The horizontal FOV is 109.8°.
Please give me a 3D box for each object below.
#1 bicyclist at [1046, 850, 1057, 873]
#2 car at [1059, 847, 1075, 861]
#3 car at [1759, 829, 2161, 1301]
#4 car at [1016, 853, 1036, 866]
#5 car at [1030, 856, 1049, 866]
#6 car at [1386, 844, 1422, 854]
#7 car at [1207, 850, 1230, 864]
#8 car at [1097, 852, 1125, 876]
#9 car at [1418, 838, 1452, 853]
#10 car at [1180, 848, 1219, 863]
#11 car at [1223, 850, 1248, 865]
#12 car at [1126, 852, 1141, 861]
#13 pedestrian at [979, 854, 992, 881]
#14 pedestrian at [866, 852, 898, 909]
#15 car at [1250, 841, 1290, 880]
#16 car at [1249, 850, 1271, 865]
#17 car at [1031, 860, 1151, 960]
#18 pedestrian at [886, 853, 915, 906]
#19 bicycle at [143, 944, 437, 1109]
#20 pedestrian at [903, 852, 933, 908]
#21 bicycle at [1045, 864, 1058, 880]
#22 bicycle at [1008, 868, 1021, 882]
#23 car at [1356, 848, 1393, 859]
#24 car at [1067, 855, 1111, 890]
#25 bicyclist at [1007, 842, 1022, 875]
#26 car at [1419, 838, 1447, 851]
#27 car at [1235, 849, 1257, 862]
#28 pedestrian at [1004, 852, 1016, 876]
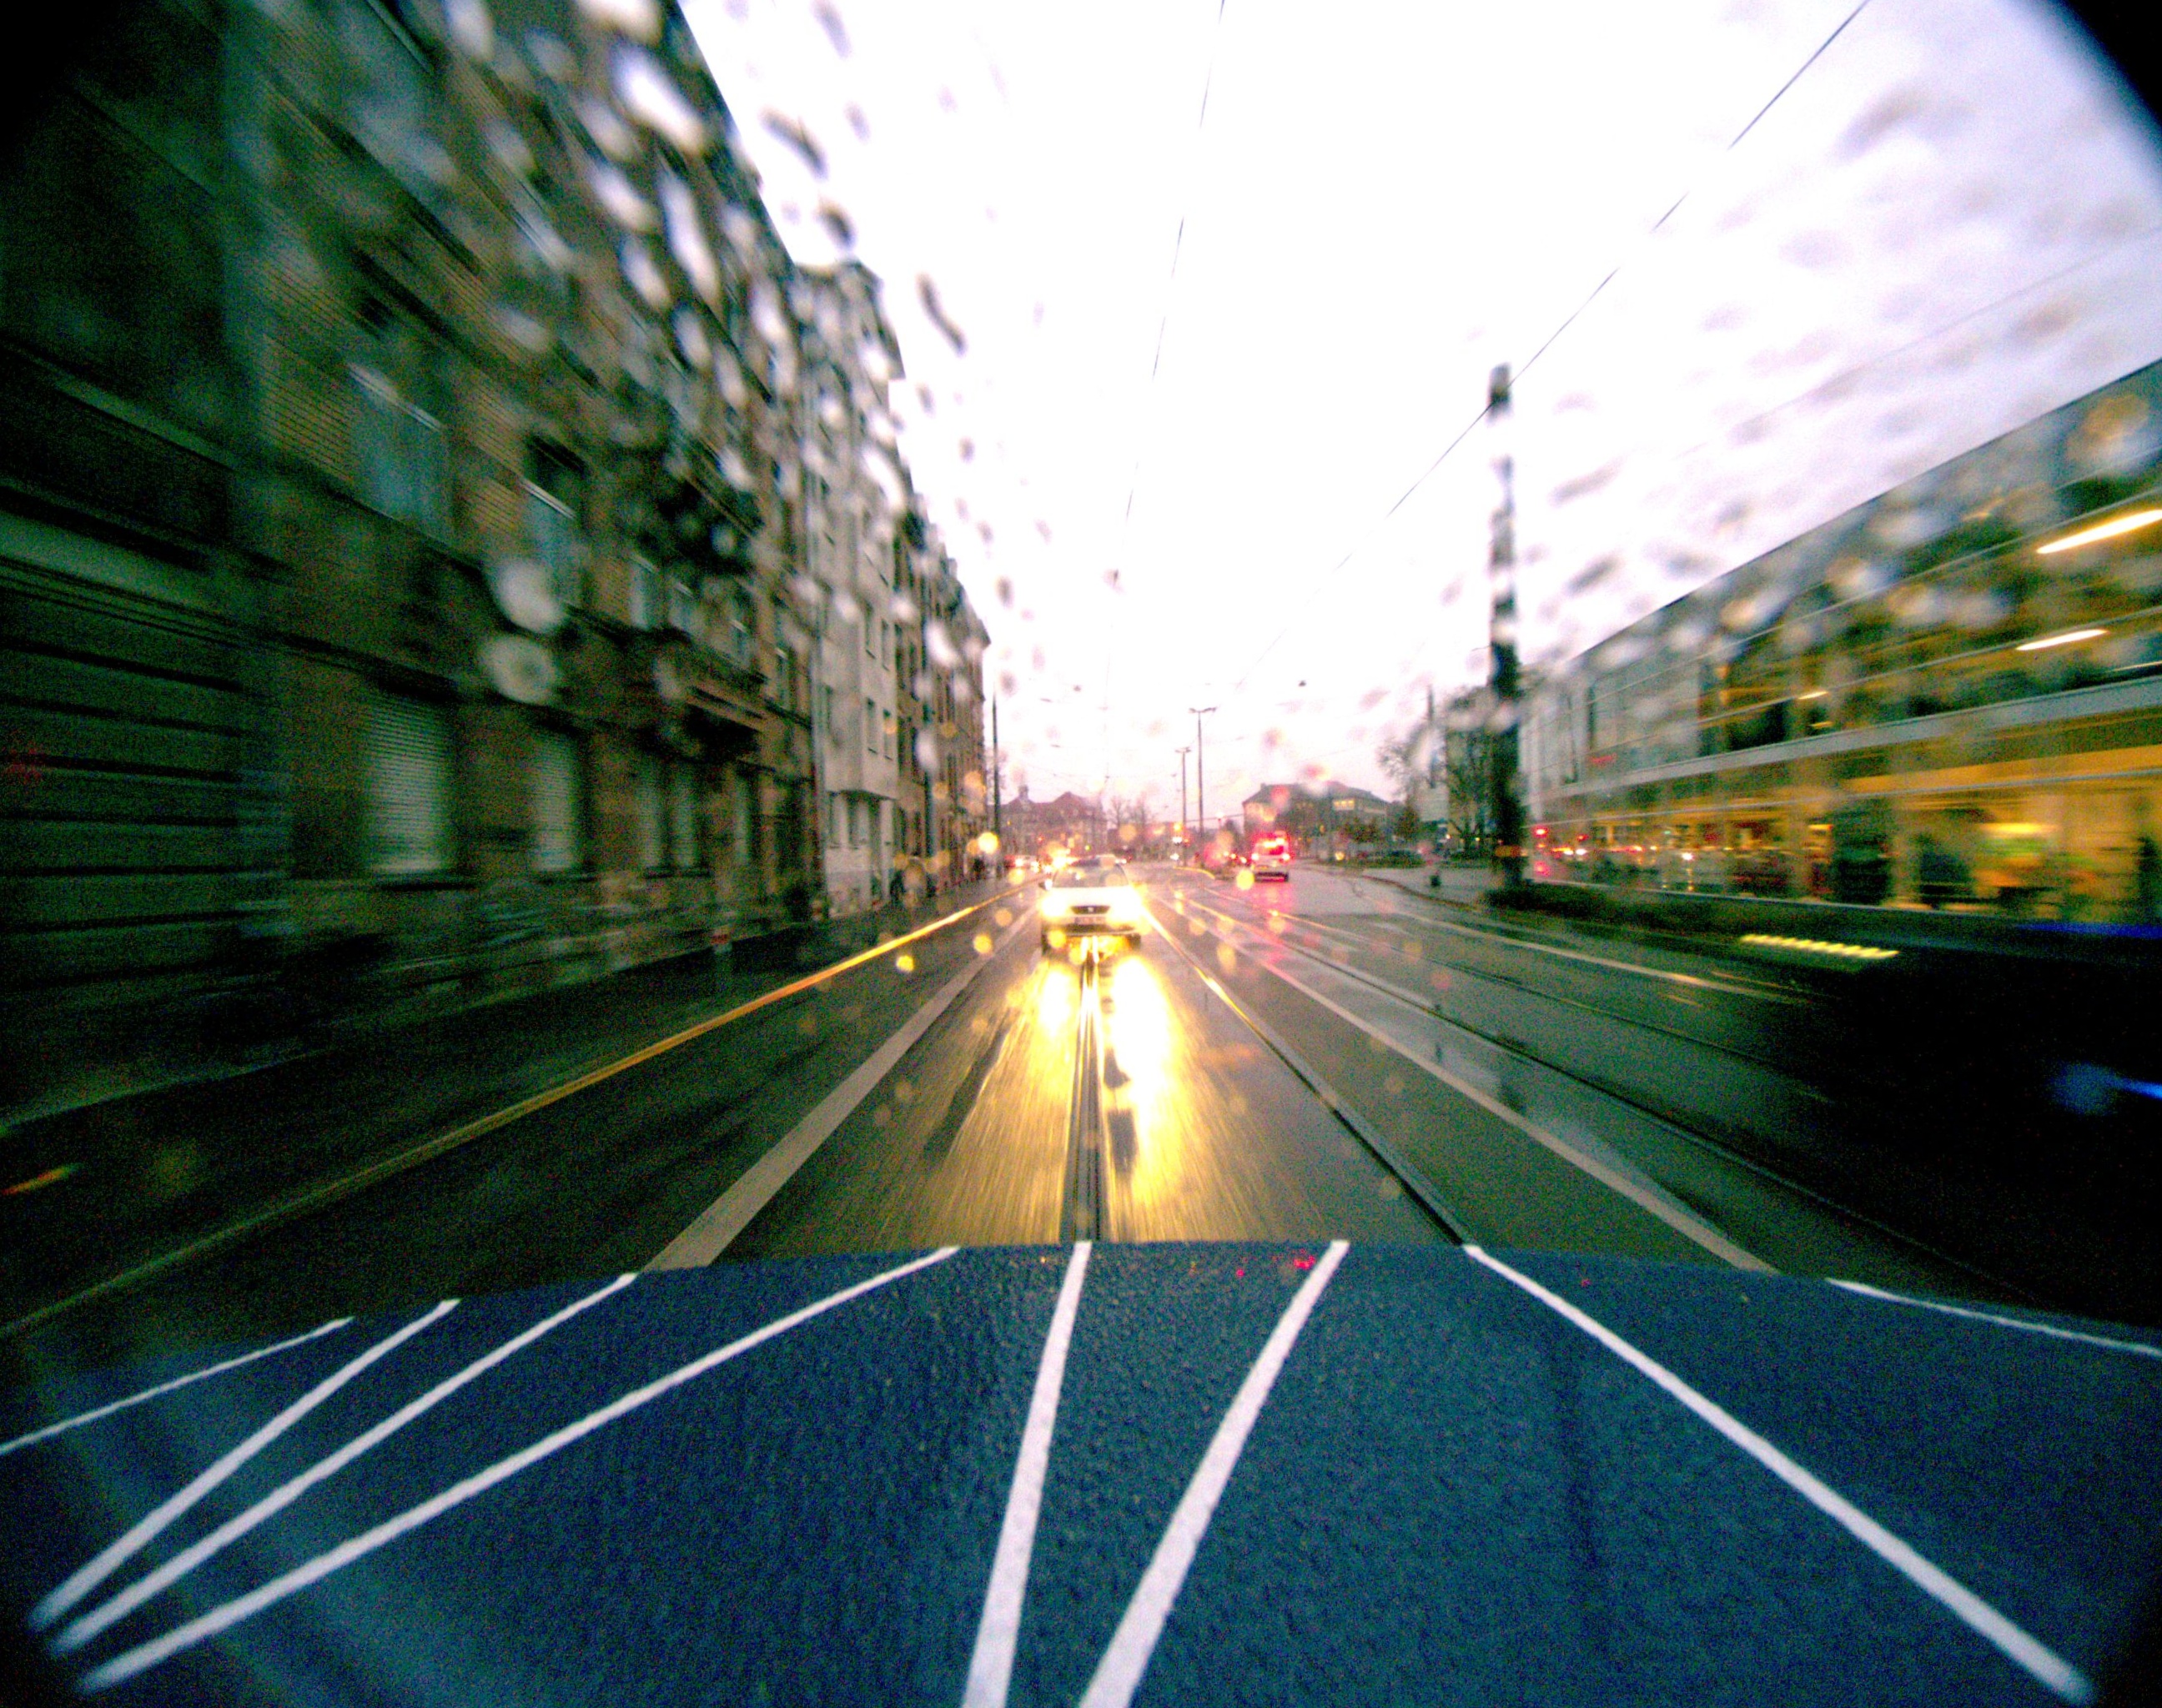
[{"bbox_3d":[-2.037,0.511,52.622,0.727,1.525,0.785,-2,1,0],"label":"bicyclist"},{"bbox_3d":[-1.953,-0.008,107.820,2.018,1.809,3.688,-2,1,1],"label":"car"},{"bbox_3d":[4.474,0.687,1.828,1.845,1.569,4.442,-1,0,3],"label":"car"},{"bbox_3d":[-8.053,0.766,111.559,1.997,1.827,4.873,-2,0,6],"label":"car"},{"bbox_3d":[-6.488,1.095,119.097,1.825,1.499,3.808,-2,0,15],"label":"car"},{"bbox_3d":[44.343,-0.673,104.395,2.003,1.302,3.990,-3,1,-35],"label":"car"},{"bbox_3d":[14.834,0.312,82.298,1.904,1.477,4.000,-2,0,3],"label":"car"},{"bbox_3d":[2.088,0.705,54.183,1.824,1.565,3.999,-2,0,0],"label":"car"},{"bbox_3d":[50.740,-1.256,108.966,2.003,2.002,3.990,-3,1,-35],"label":"car"},{"bbox_3d":[17.371,0.178,111.419,5.545,2.002,2.001,-2,1,9],"label":"car"},{"bbox_3d":[15.217,0.312,75.144,1.876,1.382,4.001,0,1,4],"label":"car"},{"bbox_3d":[10.341,0.524,148.600,1.996,1.543,4.005,-2,1,18],"label":"car"},{"bbox_3d":[-5.425,0.767,43.102,0.633,1.539,0.710,-2,1,0],"label":"pedestrian"},{"bbox_3d":[-6.175,0.822,23.579,0.777,1.734,0.673,-1,1,1],"label":"pedestrian"},{"bbox_3d":[10.518,0.321,42.402,1.996,2.002,4.689,-2,1,13],"label":"car"},{"bbox_3d":[18.007,0.358,76.466,1.604,1.410,3.472,-2,0,4],"label":"car"},{"bbox_3d":[0.242,0.879,13.629,1.797,1.415,4.000,-2,0,3],"label":"car"},{"bbox_3d":[-6.013,0.841,25.328,0.777,1.734,0.673,-1,1,1],"label":"pedestrian"},{"bbox_3d":[-6.268,1.306,6.197,0.398,0.906,1.866,-1,0,1],"label":"bicycle"},{"bbox_3d":[-5.193,0.814,24.235,0.777,1.734,0.673,-1,1,1],"label":"pedestrian"},{"bbox_3d":[-2.021,1.224,52.600,0.725,0.985,2.212,-2,0,0],"label":"bicycle"},{"bbox_3d":[-3.820,1.193,43.911,0.609,0.757,1.860,-1,1,-1],"label":"bicycle"},{"bbox_3d":[38.443,-0.107,99.576,2.003,1.302,3.990,-3,1,-35],"label":"car"},{"bbox_3d":[0.405,0.785,34.456,1.797,1.415,4.000,-2,0,3],"label":"car"},{"bbox_3d":[-3.829,0.269,43.814,0.747,1.869,1.111,-1,1,-1],"label":"bicyclist"},{"bbox_3d":[56.577,-1.538,122.177,3.990,2.002,2.003,-2,1,27],"label":"car"},{"bbox_3d":[18.265,0.186,84.175,1.728,1.350,4.000,-2,0,3],"label":"car"},{"bbox_3d":[-5.385,0.756,57.702,0.753,1.814,0.711,-2,1,4],"label":"pedestrian"}]
